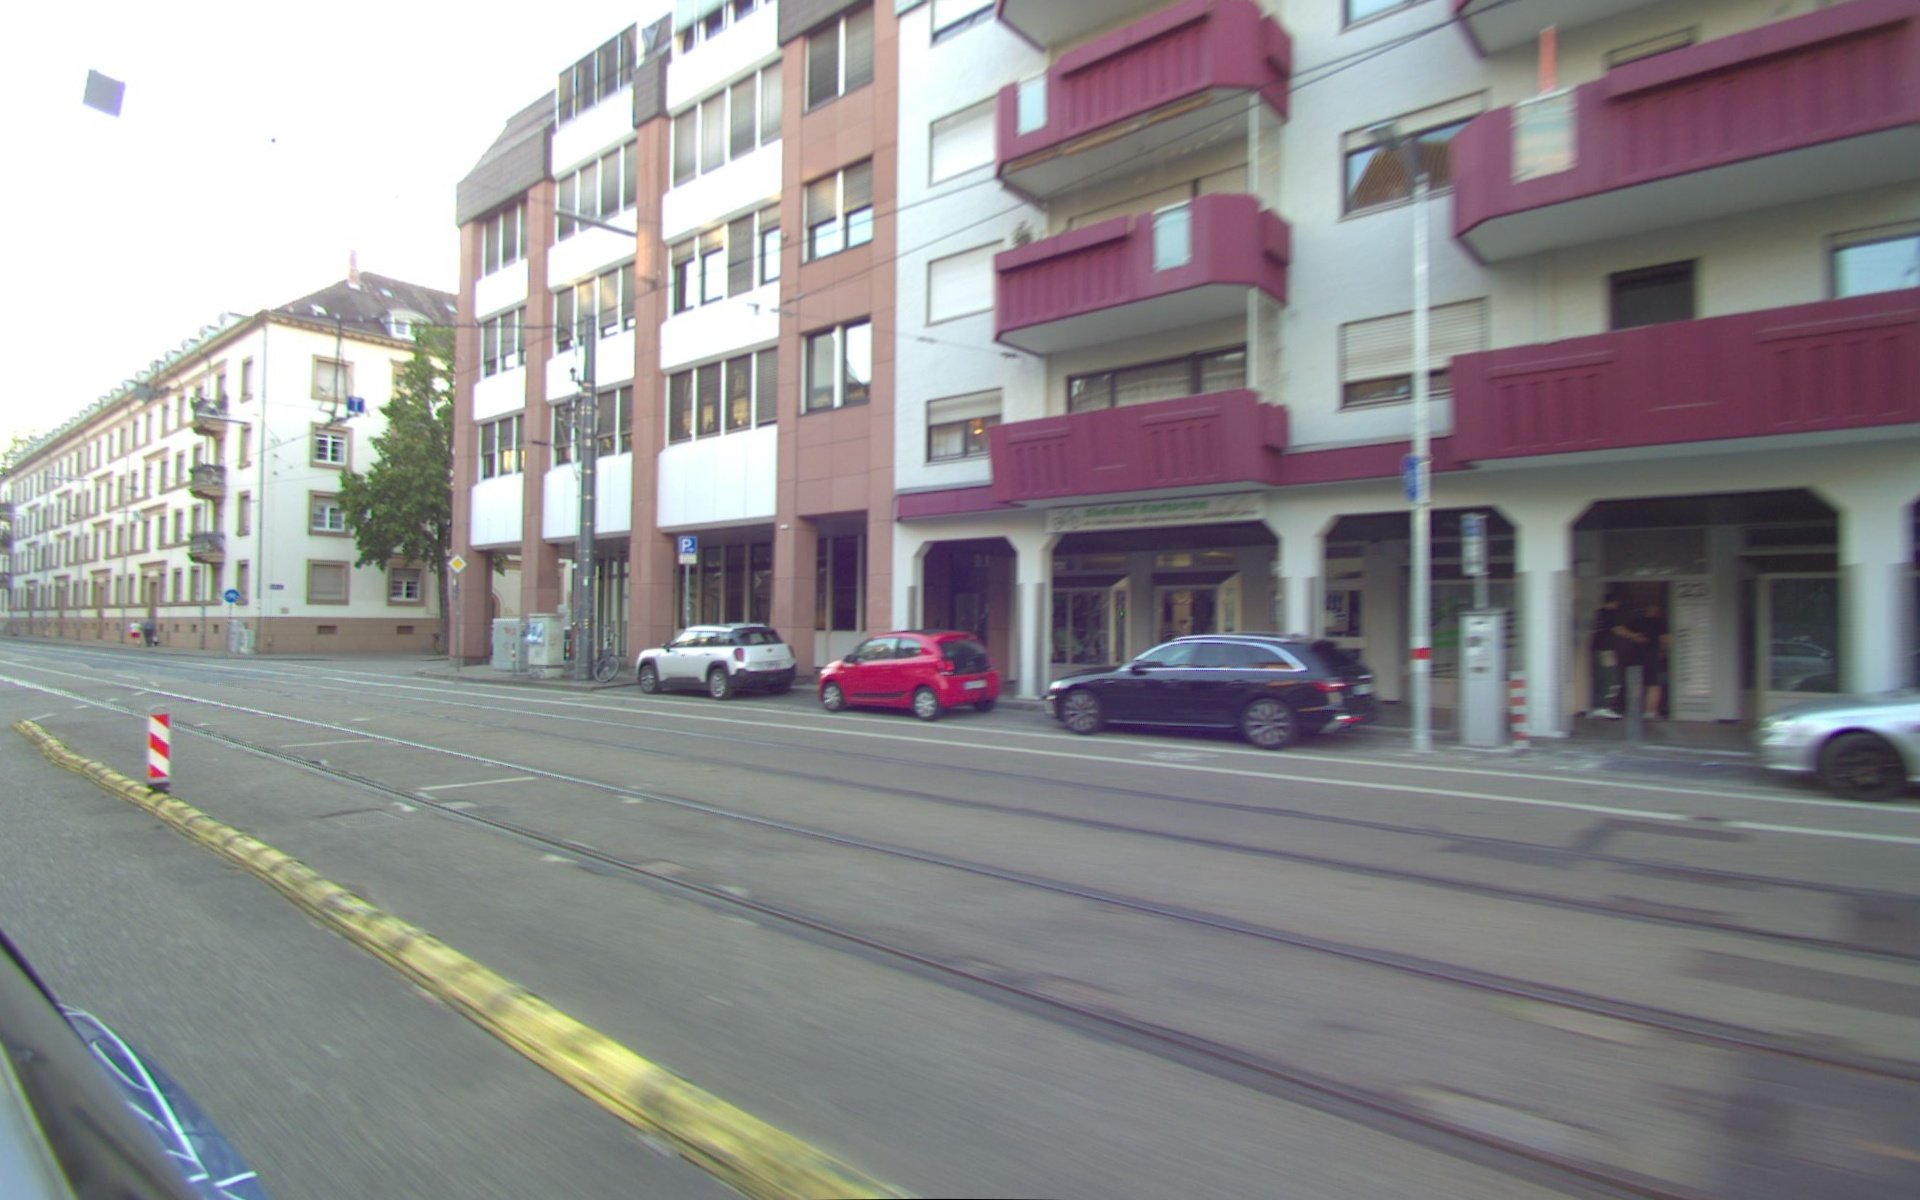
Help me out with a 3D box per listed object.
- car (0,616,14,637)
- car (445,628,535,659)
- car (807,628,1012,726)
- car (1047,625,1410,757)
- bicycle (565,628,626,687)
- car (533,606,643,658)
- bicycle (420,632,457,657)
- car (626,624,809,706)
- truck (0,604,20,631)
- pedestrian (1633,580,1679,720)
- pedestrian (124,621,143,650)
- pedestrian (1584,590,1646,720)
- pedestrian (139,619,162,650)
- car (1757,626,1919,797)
[{"bbox_3d":[-123.798,3.401,128.415,2.225,2.617,5.172,-2,-2,36],"label":"car"},{"bbox_3d":[-22.632,2.082,48.737,4.166,1.433,1.978,-1,-2,32],"label":"car"},{"bbox_3d":[-0.943,1.268,17.771,3.478,1.490,1.594,-1,0,42],"label":"car"},{"bbox_3d":[3.630,1.127,14.090,4.476,1.490,1.975,-1,0,38],"label":"car"},{"bbox_3d":[-8.978,1.383,24.867,0.601,1.388,2.261,2,-3,-42],"label":"bicycle"},{"bbox_3d":[-19.501,1.668,52.942,6.110,2.609,2.075,-1,-2,32],"label":"car"},{"bbox_3d":[-26.199,2.246,50.849,0.600,1.222,1.671,0,-2,22],"label":"bicycle"},{"bbox_3d":[-5.271,1.313,21.701,4.201,1.567,1.699,-1,-1,41],"label":"car"},{"bbox_3d":[-127.926,2.318,132.351,2.561,3.455,6.993,-2,-2,36],"label":"truck"},{"bbox_3d":[10.401,0.738,15.123,0.526,2.029,0.519,-1,-2,35],"label":"pedestrian"},{"bbox_3d":[-45.852,1.970,56.136,0.810,1.622,0.585,-1,-2,38],"label":"pedestrian"},{"bbox_3d":[9.778,0.813,15.119,0.605,1.886,0.529,1,-2,-29],"label":"pedestrian"},{"bbox_3d":[-45.224,1.932,56.532,0.980,1.714,0.788,-1,-2,38],"label":"pedestrian"},{"bbox_3d":[9.762,0.966,8.523,4.676,1.424,1.673,-1,0,43],"label":"car"}]
